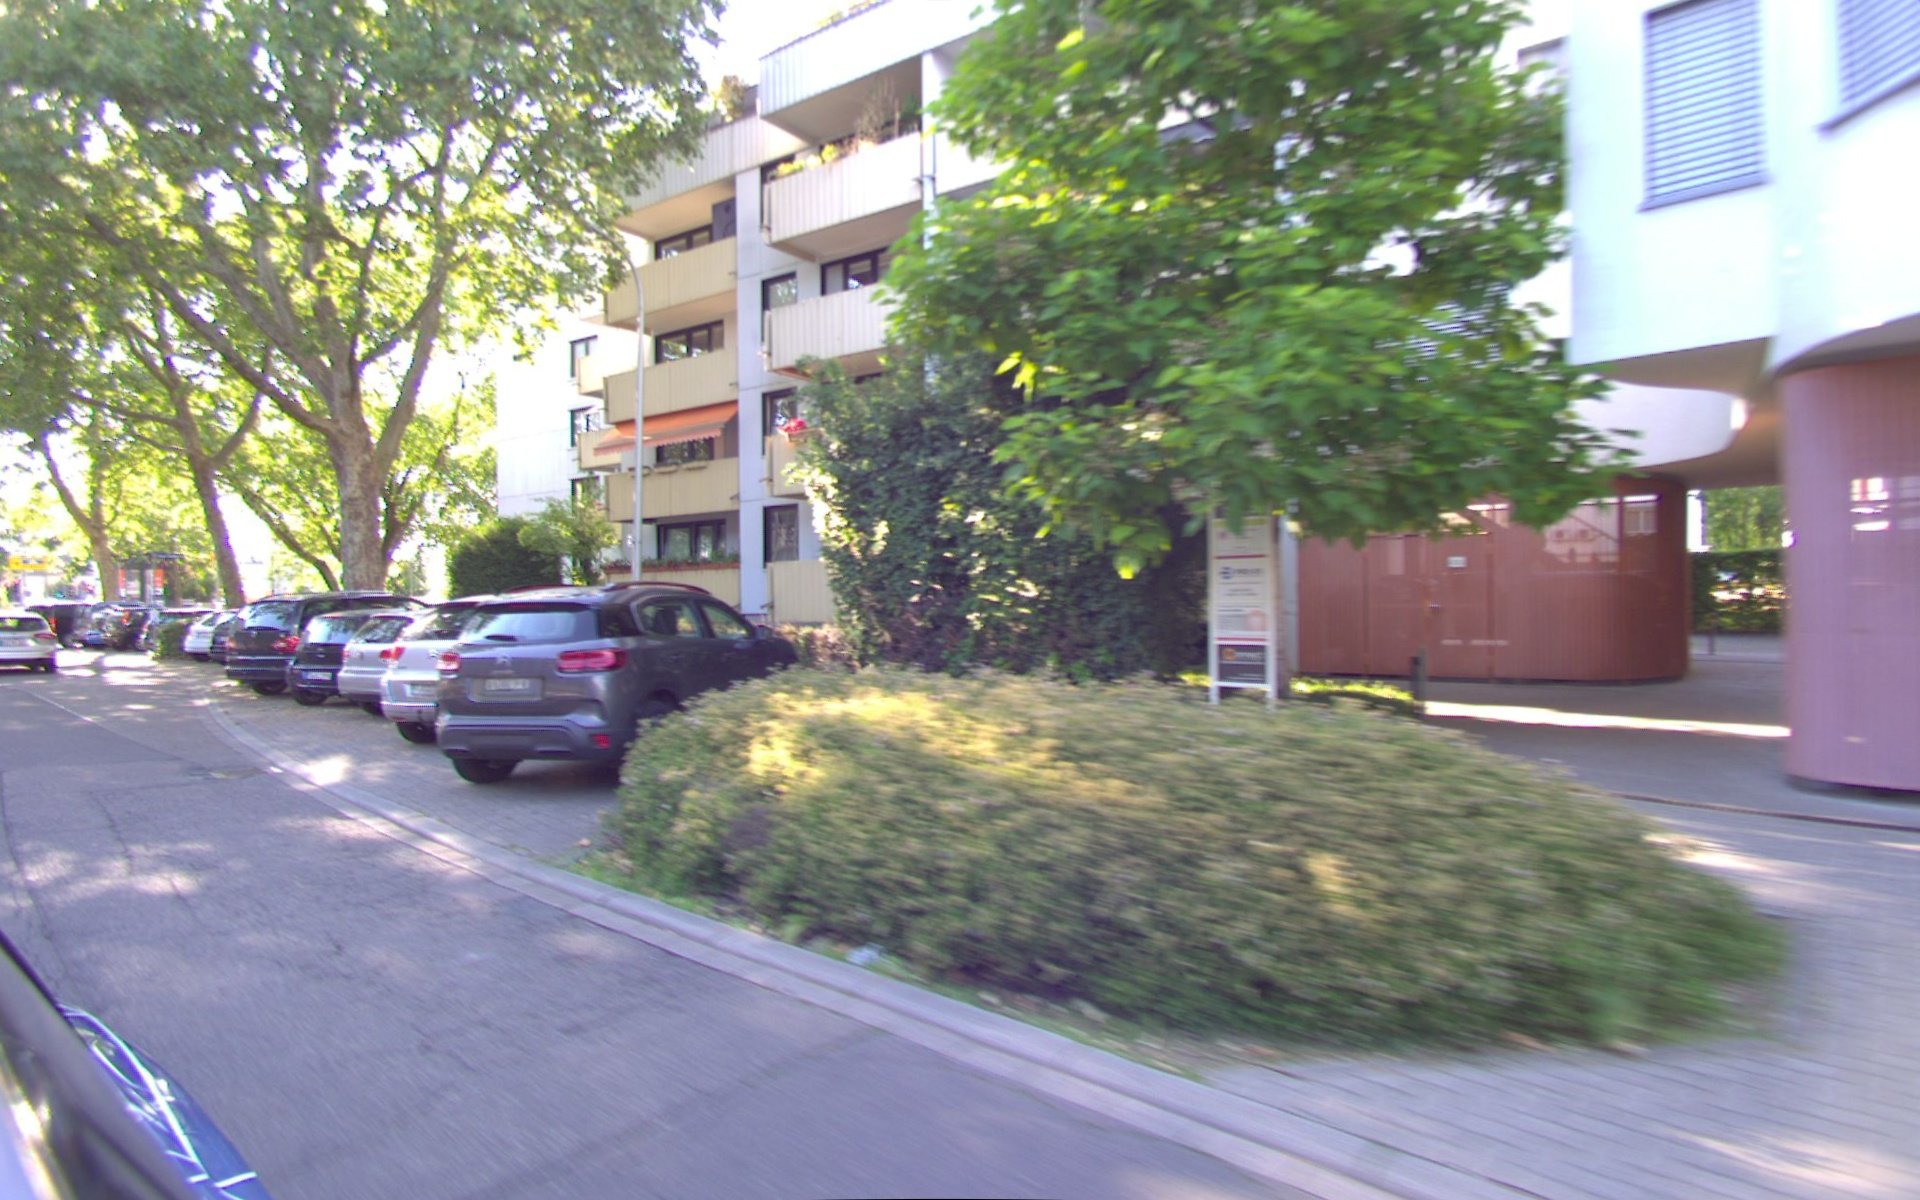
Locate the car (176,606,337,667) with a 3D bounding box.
[{"bbox_3d":[-20.436,1.019,29.557,1.693,1.572,3.633,-1,1,14],"label":"car"}]

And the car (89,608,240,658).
[{"bbox_3d":[-28.971,1.149,36.976,1.789,1.637,3.964,-1,0,27],"label":"car"}]

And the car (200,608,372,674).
[{"bbox_3d":[-18.367,1.069,27.741,1.640,1.572,3.622,-1,1,23],"label":"car"}]

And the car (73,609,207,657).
[{"bbox_3d":[-30.931,1.211,38.288,1.640,1.572,3.572,-1,1,23],"label":"car"}]

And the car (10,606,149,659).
[{"bbox_3d":[-35.646,1.274,41.091,1.701,1.900,3.981,-1,1,15],"label":"car"}]

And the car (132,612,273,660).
[{"bbox_3d":[-26.581,1.216,35.634,1.693,1.472,3.625,-1,1,20],"label":"car"}]

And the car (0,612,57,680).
[{"bbox_3d":[-23.398,1.060,24.553,4.623,1.548,1.878,-1,-2,44],"label":"car"}]

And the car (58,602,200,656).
[{"bbox_3d":[-32.984,1.107,40.273,1.824,1.896,3.966,-1,1,25],"label":"car"}]

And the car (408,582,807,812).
[{"bbox_3d":[-3.003,0.694,9.582,1.684,1.674,3.943,-1,1,14],"label":"car"}]

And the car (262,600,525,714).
[{"bbox_3d":[-9.097,0.838,16.602,1.685,1.572,3.631,-1,1,16],"label":"car"}]

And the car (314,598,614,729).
[{"bbox_3d":[-7.113,0.817,14.857,1.693,1.572,3.613,-1,1,30],"label":"car"}]

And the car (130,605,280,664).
[{"bbox_3d":[-24.280,1.067,32.703,1.635,1.674,3.632,-1,1,15],"label":"car"}]

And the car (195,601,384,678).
[{"bbox_3d":[-16.562,0.914,25.190,1.640,1.674,3.622,-1,1,23],"label":"car"}]

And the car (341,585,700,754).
[{"bbox_3d":[-5.068,0.682,12.365,1.762,1.652,4.116,-1,1,17],"label":"car"}]

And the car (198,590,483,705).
[{"bbox_3d":[-11.150,0.751,18.607,1.891,1.788,4.244,-1,1,18],"label":"car"}]
